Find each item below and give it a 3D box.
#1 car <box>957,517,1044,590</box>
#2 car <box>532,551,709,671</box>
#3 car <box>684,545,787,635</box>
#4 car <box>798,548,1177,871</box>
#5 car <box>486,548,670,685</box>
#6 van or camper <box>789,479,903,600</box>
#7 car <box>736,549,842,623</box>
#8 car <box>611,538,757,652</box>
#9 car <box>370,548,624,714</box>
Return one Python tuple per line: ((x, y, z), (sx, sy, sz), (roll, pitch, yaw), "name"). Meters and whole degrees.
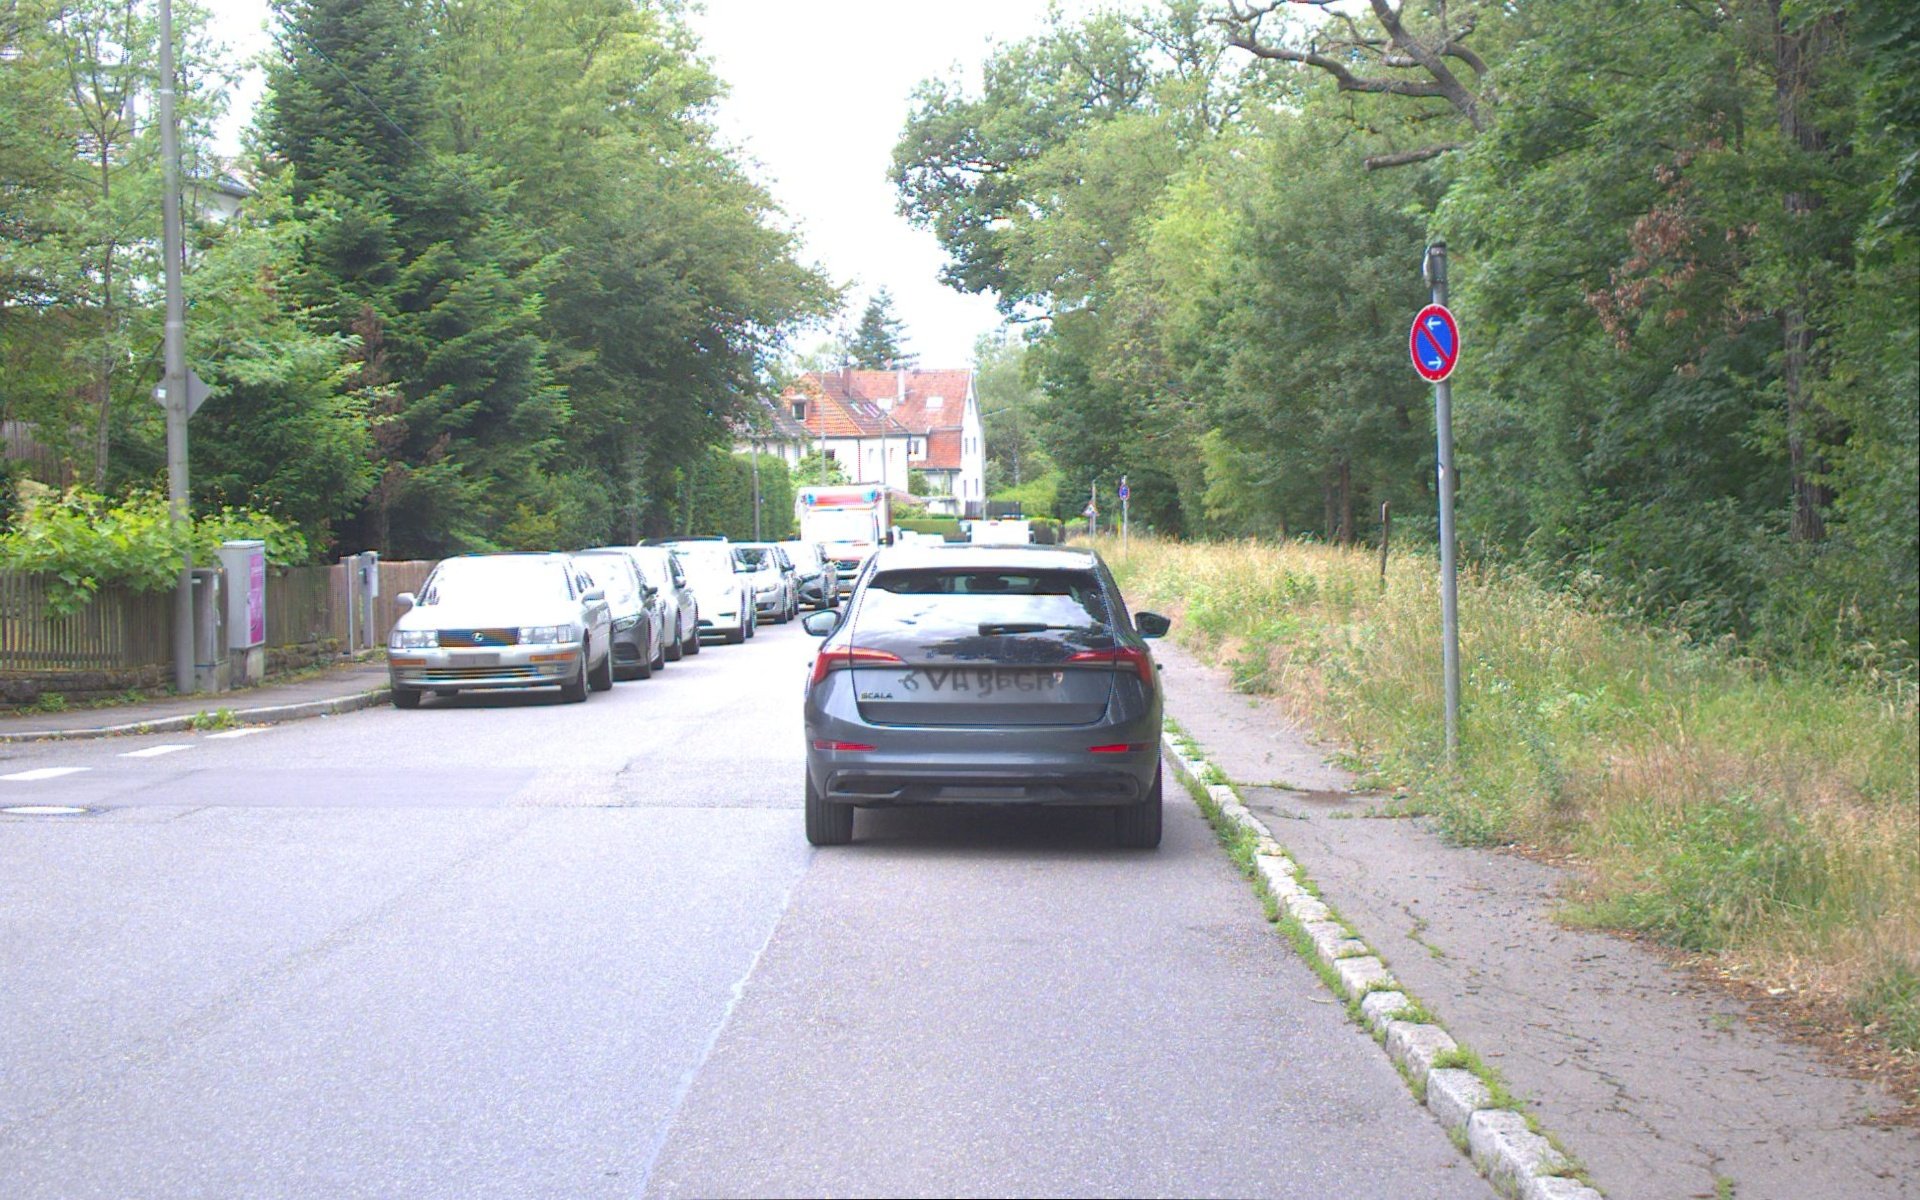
((1.069, -1.280, 93.079), (2.071, 1.915, 4.923), (0, 1, -2), "car")
((-4.434, 0.107, 45.382), (1.834, 1.434, 4.117), (-2, 1, 1), "car")
((-4.058, -0.205, 62.606), (1.720, 1.499, 4.008), (-3, 1, -2), "car")
((0.047, 0.468, 17.851), (1.727, 1.434, 4.324), (0, 1, -2), "car")
((-4.304, 0.144, 39.271), (1.734, 1.434, 4.263), (-2, 1, -2), "car")
((-2.958, -1.535, 87.153), (2.456, 2.885, 7.169), (-1, 1, -5), "van or camper")
((-3.717, -0.334, 75.483), (1.798, 1.499, 4.863), (-3, 1, 3), "car")
((-4.134, -0.109, 52.155), (1.916, 1.556, 4.604), (-3, 1, -2), "car")
((-4.415, 0.246, 33.446), (1.848, 1.434, 4.911), (-2, 1, -1), "car")
